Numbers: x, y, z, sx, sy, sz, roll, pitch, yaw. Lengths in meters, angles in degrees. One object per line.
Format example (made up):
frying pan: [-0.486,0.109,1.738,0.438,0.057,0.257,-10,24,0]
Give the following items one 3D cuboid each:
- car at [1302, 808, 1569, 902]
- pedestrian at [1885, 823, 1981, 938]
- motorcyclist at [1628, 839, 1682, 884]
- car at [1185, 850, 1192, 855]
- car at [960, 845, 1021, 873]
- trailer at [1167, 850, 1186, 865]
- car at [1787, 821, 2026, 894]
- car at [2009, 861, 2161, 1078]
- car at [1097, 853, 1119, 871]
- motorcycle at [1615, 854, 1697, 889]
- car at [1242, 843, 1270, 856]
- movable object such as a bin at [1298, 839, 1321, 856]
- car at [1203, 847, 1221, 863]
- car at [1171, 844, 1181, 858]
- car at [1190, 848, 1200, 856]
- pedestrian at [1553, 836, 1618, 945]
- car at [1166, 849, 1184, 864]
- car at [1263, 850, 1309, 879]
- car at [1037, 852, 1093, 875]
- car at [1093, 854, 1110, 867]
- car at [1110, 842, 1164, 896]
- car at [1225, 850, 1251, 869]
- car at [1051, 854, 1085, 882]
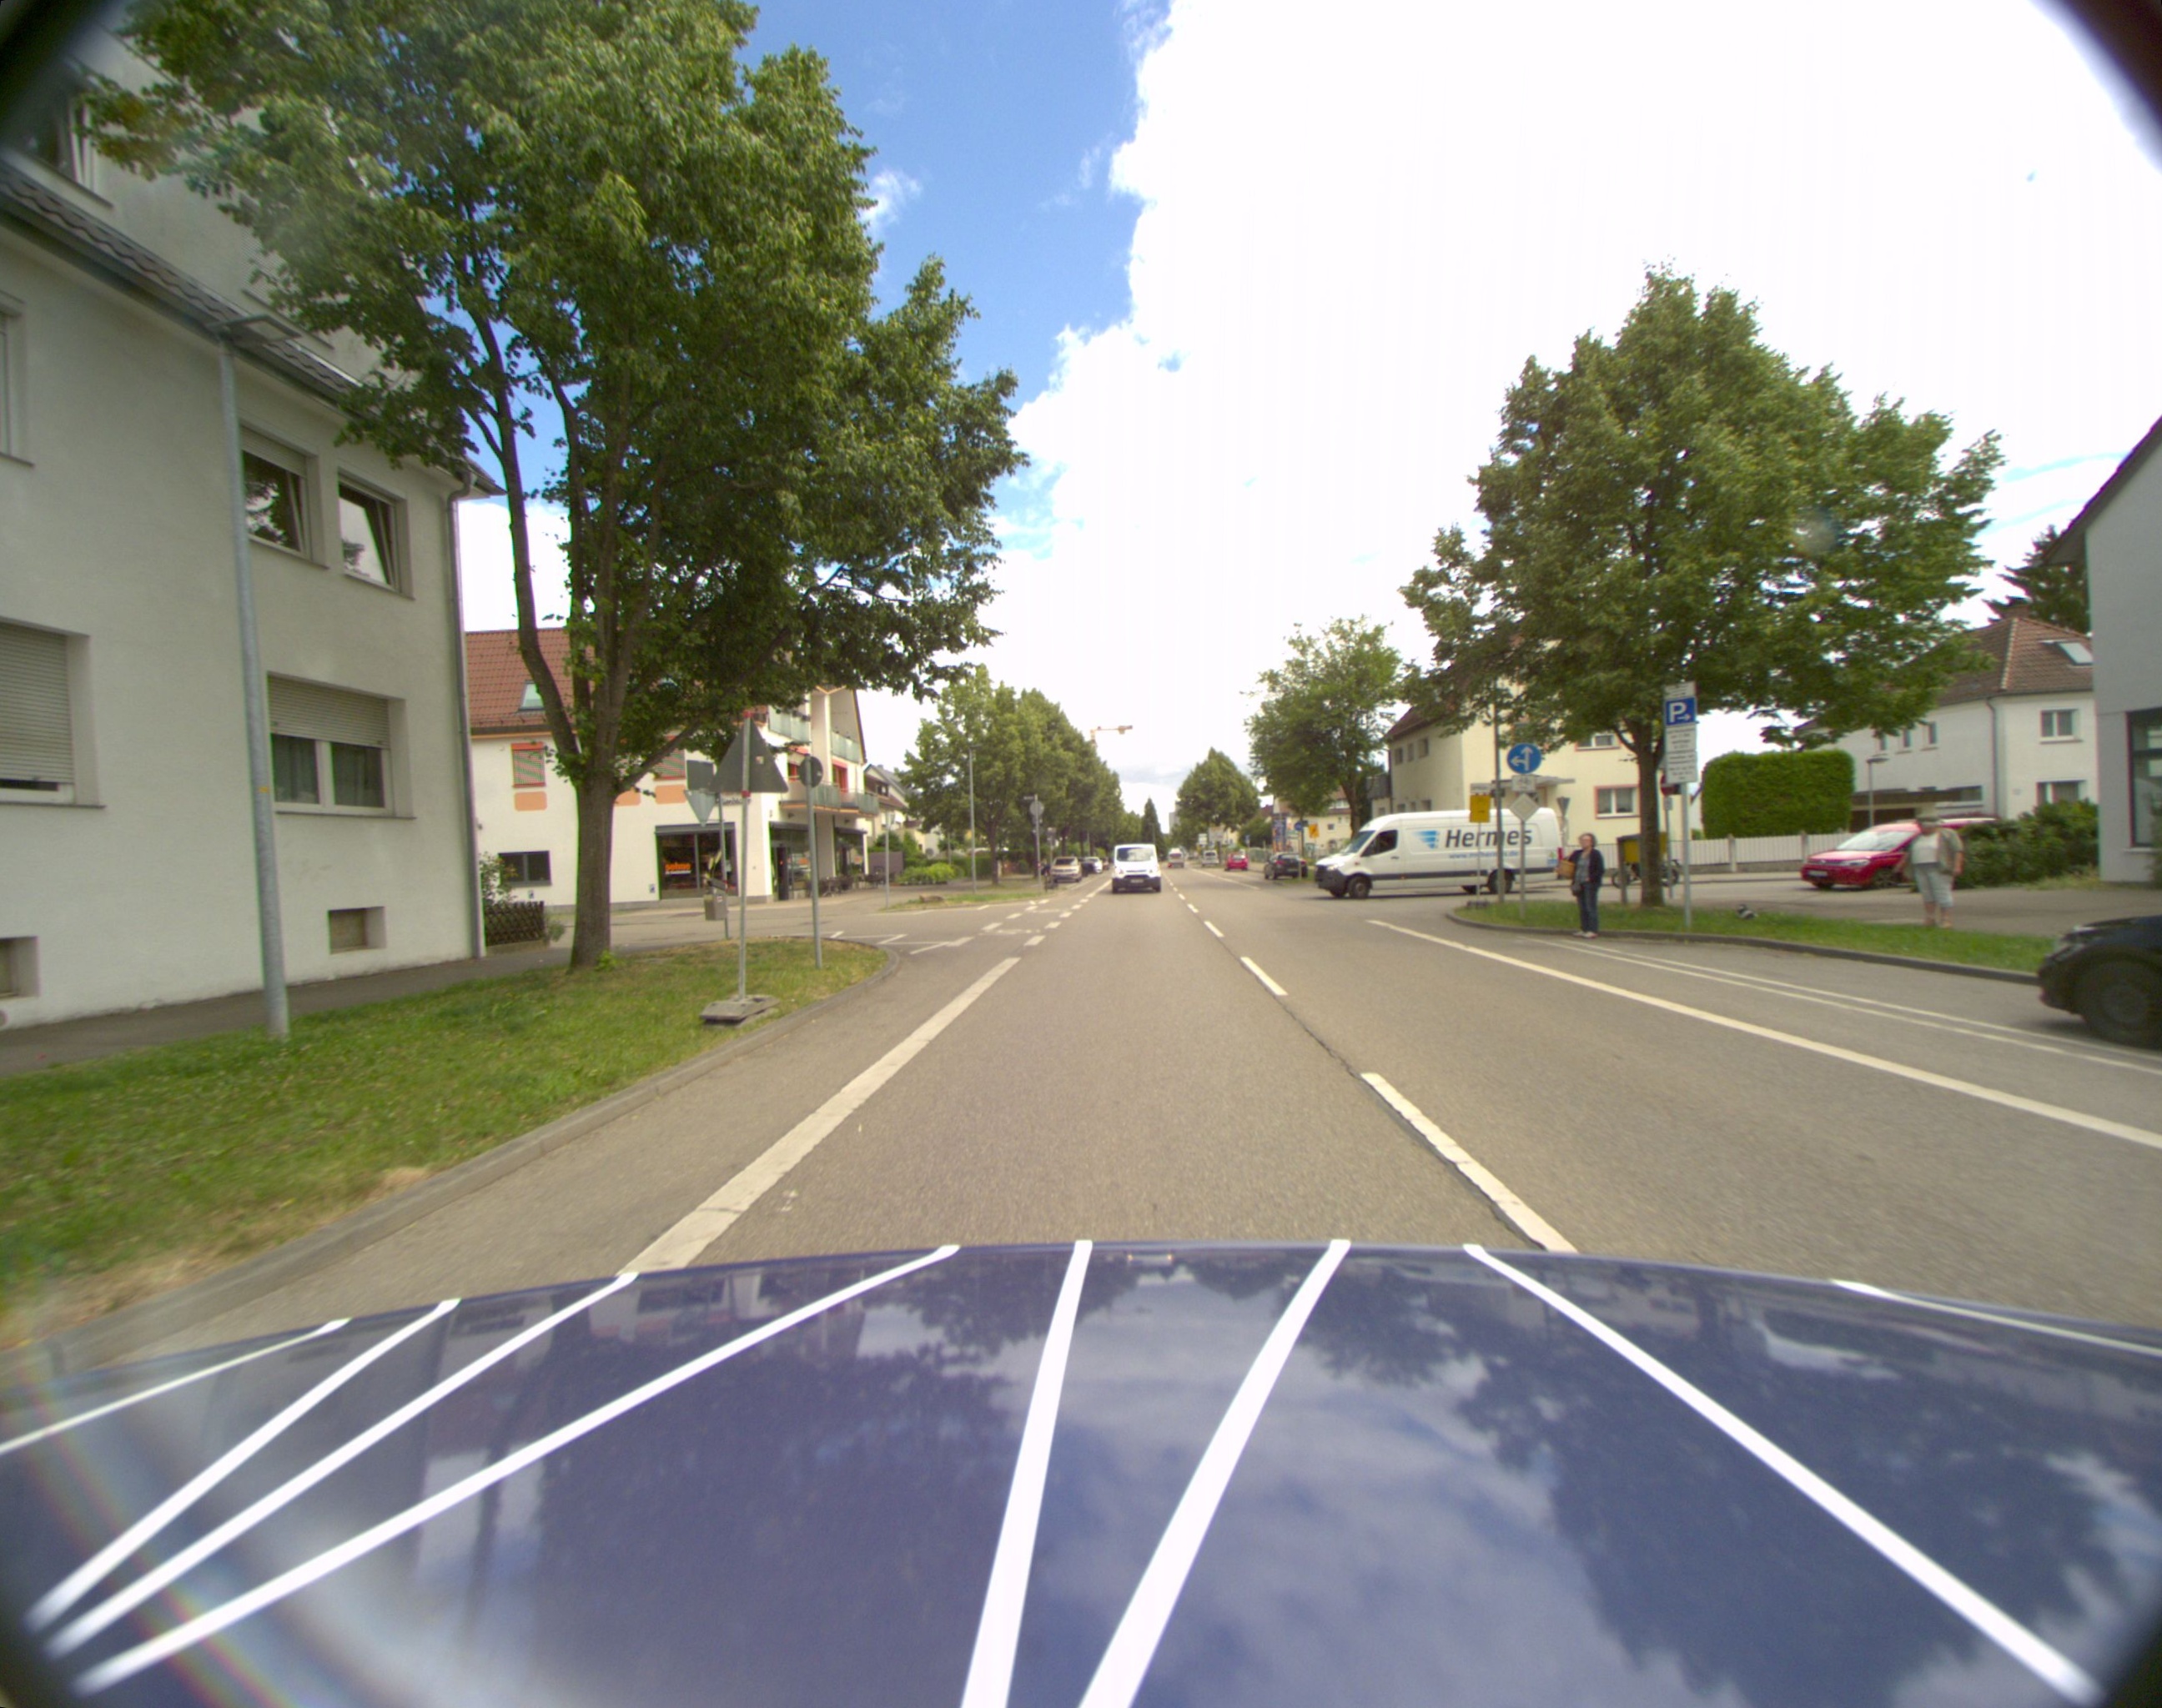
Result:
car: [10.988,0.042,23.967,7.306,2.579,2.220,-2,0,1]
pedestrian: [11.961,0.355,10.693,0.431,1.543,0.806,-3,1,5]
motorcyclist: [17.948,0.239,23.768,1.109,1.357,0.753,-2,1,3]
car: [28.958,-0.381,204.735,1.664,1.466,3.748,-2,0,4]
car: [-9.036,0.494,75.989,5.728,2.576,1.998,-2,0,0]
trailer: [11.116,0.407,88.545,1.942,1.667,4.690,-2,0,5]
car: [22.222,0.063,20.595,4.358,1.768,1.872,-2,2,1]
car: [7.942,0.775,3.882,1.646,1.412,4.021,-1,0,4]
car: [2.455,0.721,68.818,1.809,1.466,4.813,-2,0,3]
motorcycle: [17.993,0.544,23.807,2.117,1.025,0.481,-2,1,3]
car: [27.171,-0.713,118.238,3.926,1.653,1.855,-3,2,5]
movable object such as a bin: [31.530,-0.907,104.931,1.900,2.175,4.363,-2,0,3]
car: [15.515,0.144,90.208,1.774,1.760,4.553,-2,0,7]
car: [19.849,-0.630,158.728,2.023,2.658,5.808,-2,0,7]
car: [25.045,-0.378,167.184,1.750,1.626,4.049,-3,0,5]
pedestrian: [8.099,0.579,12.225,0.543,1.671,0.751,-4,-1,13]
car: [11.486,0.278,93.261,1.970,1.820,4.820,-2,0,5]
car: [11.151,0.553,41.532,1.734,1.460,4.303,-1,0,6]
car: [-1.205,0.727,58.076,4.228,1.628,1.693,-1,0,-1]
car: [2.293,0.696,83.651,1.656,1.407,4.178,-1,0,4]
car: [2.309,0.583,31.950,1.998,2.002,5.051,-2,0,3]
car: [13.213,0.465,64.141,1.688,1.532,4.134,-2,0,7]
car: [-0.748,0.814,46.144,1.726,1.571,4.061,-2,0,2]
